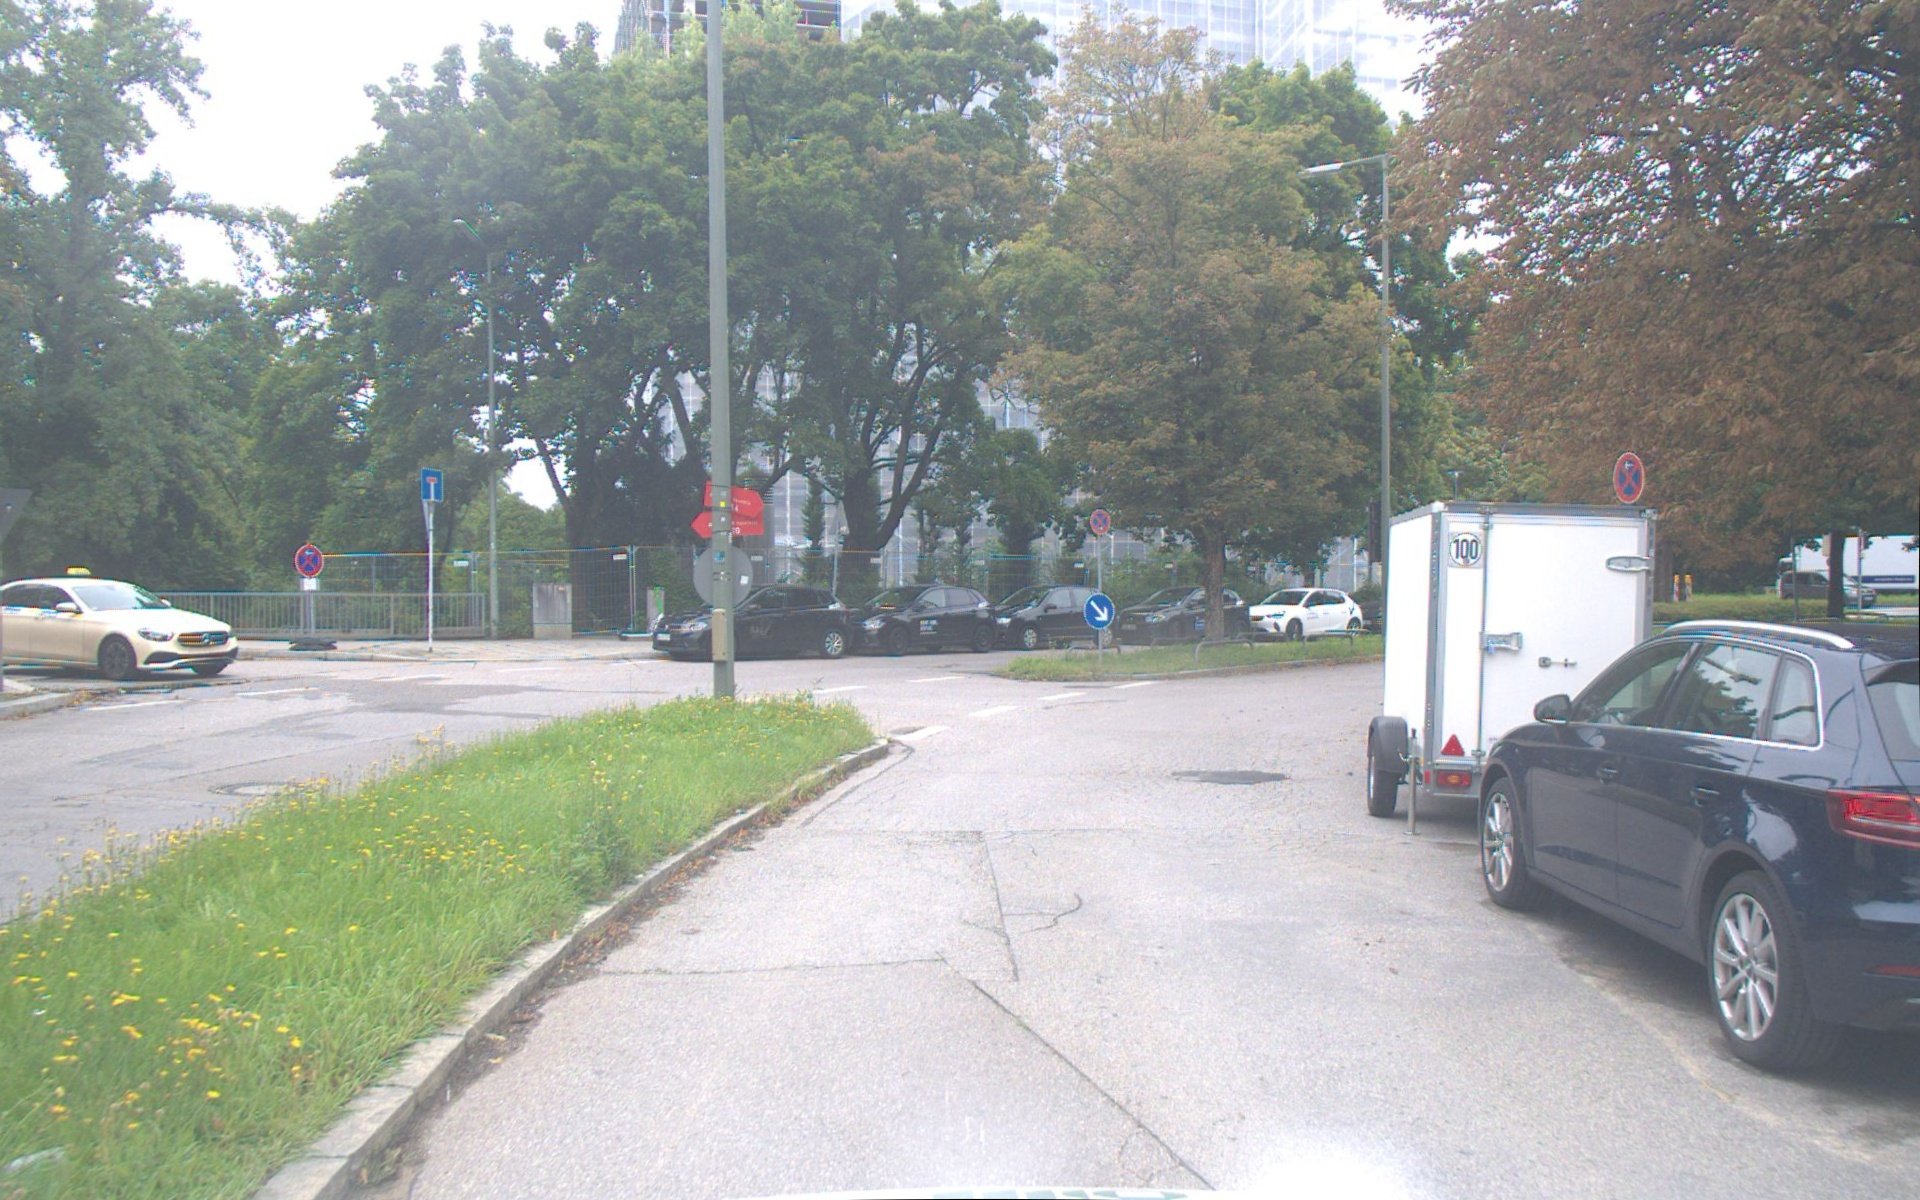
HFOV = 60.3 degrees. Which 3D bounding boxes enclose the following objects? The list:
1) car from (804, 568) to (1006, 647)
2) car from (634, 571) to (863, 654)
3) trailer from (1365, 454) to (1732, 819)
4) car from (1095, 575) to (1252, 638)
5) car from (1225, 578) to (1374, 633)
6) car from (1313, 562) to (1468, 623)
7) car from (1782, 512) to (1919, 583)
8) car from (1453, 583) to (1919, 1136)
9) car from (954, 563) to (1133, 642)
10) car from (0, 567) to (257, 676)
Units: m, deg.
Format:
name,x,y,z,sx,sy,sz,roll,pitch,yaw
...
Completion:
name,x,y,z,sx,sy,sz,roll,pitch,yaw
car,-1.121,0.125,34.920,3.967,1.568,1.969,-1,1,-43
car,-4.058,0.193,32.028,4.009,1.457,1.970,-1,2,-42
trailer,3.928,0.199,11.833,1.770,2.049,4.838,0,0,11
car,5.406,0.145,41.618,3.973,1.486,1.812,0,0,-43
car,9.195,0.123,44.663,4.179,1.408,1.776,0,0,-40
car,12.427,-0.183,47.668,4.339,1.634,1.871,1,-1,-32
car,47.373,-2.626,85.976,3.040,3.509,8.666,0,0,-21
car,3.547,0.691,6.706,1.833,1.462,4.329,-1,1,1
car,1.977,0.043,38.391,3.967,1.736,1.969,0,0,-43
car,-13.396,0.288,25.509,4.738,1.572,1.894,0,1,21
